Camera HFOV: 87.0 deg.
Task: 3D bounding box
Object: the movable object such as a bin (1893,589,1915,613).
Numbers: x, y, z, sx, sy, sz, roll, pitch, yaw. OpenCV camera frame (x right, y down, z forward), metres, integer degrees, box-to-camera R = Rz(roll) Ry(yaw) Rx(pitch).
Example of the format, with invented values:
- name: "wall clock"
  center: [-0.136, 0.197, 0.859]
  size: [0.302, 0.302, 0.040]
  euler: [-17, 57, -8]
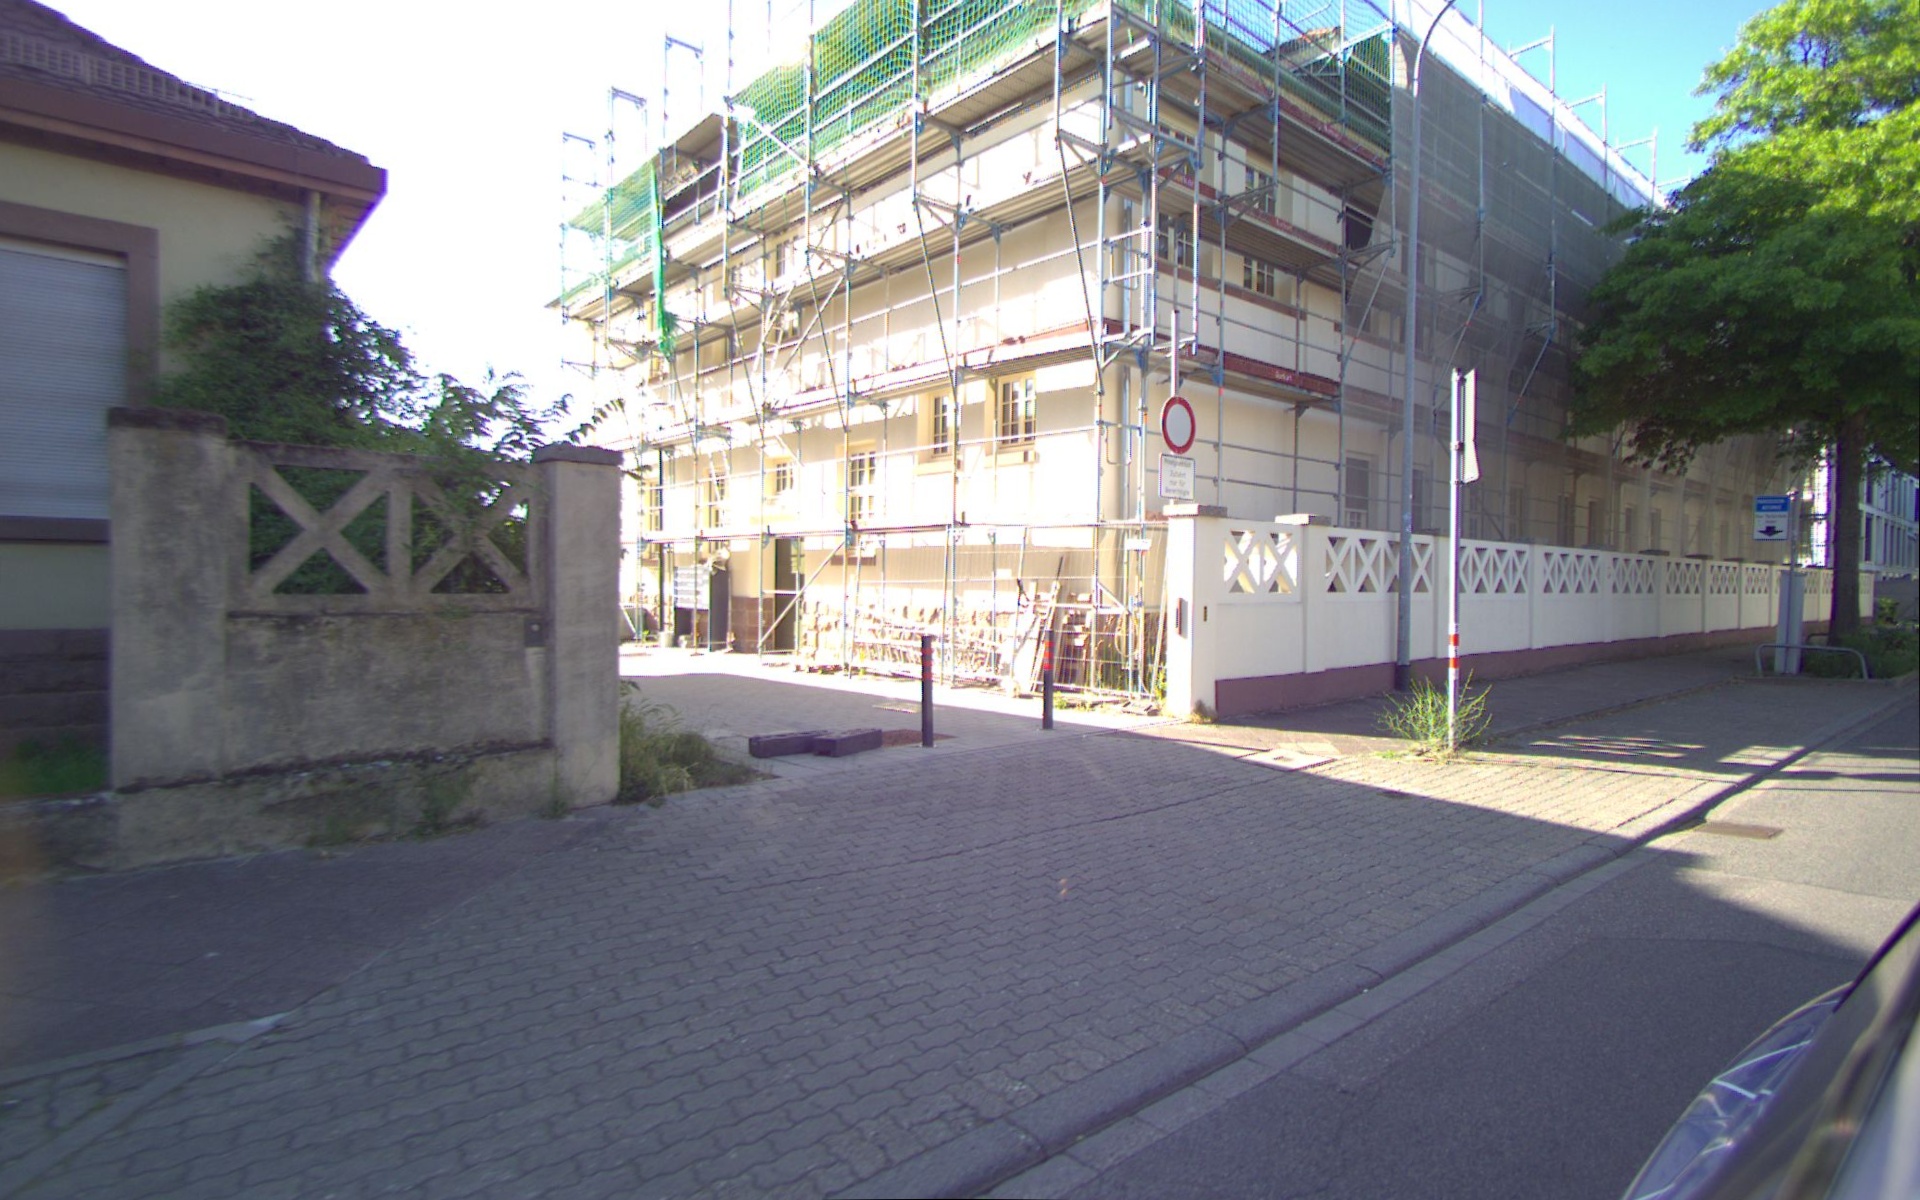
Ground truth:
- name: "movable object such as a bin"
  center: [39.887, 0.042, 42.764]
  size: [0.553, 1.040, 0.599]
  euler: [-1, -1, -37]
